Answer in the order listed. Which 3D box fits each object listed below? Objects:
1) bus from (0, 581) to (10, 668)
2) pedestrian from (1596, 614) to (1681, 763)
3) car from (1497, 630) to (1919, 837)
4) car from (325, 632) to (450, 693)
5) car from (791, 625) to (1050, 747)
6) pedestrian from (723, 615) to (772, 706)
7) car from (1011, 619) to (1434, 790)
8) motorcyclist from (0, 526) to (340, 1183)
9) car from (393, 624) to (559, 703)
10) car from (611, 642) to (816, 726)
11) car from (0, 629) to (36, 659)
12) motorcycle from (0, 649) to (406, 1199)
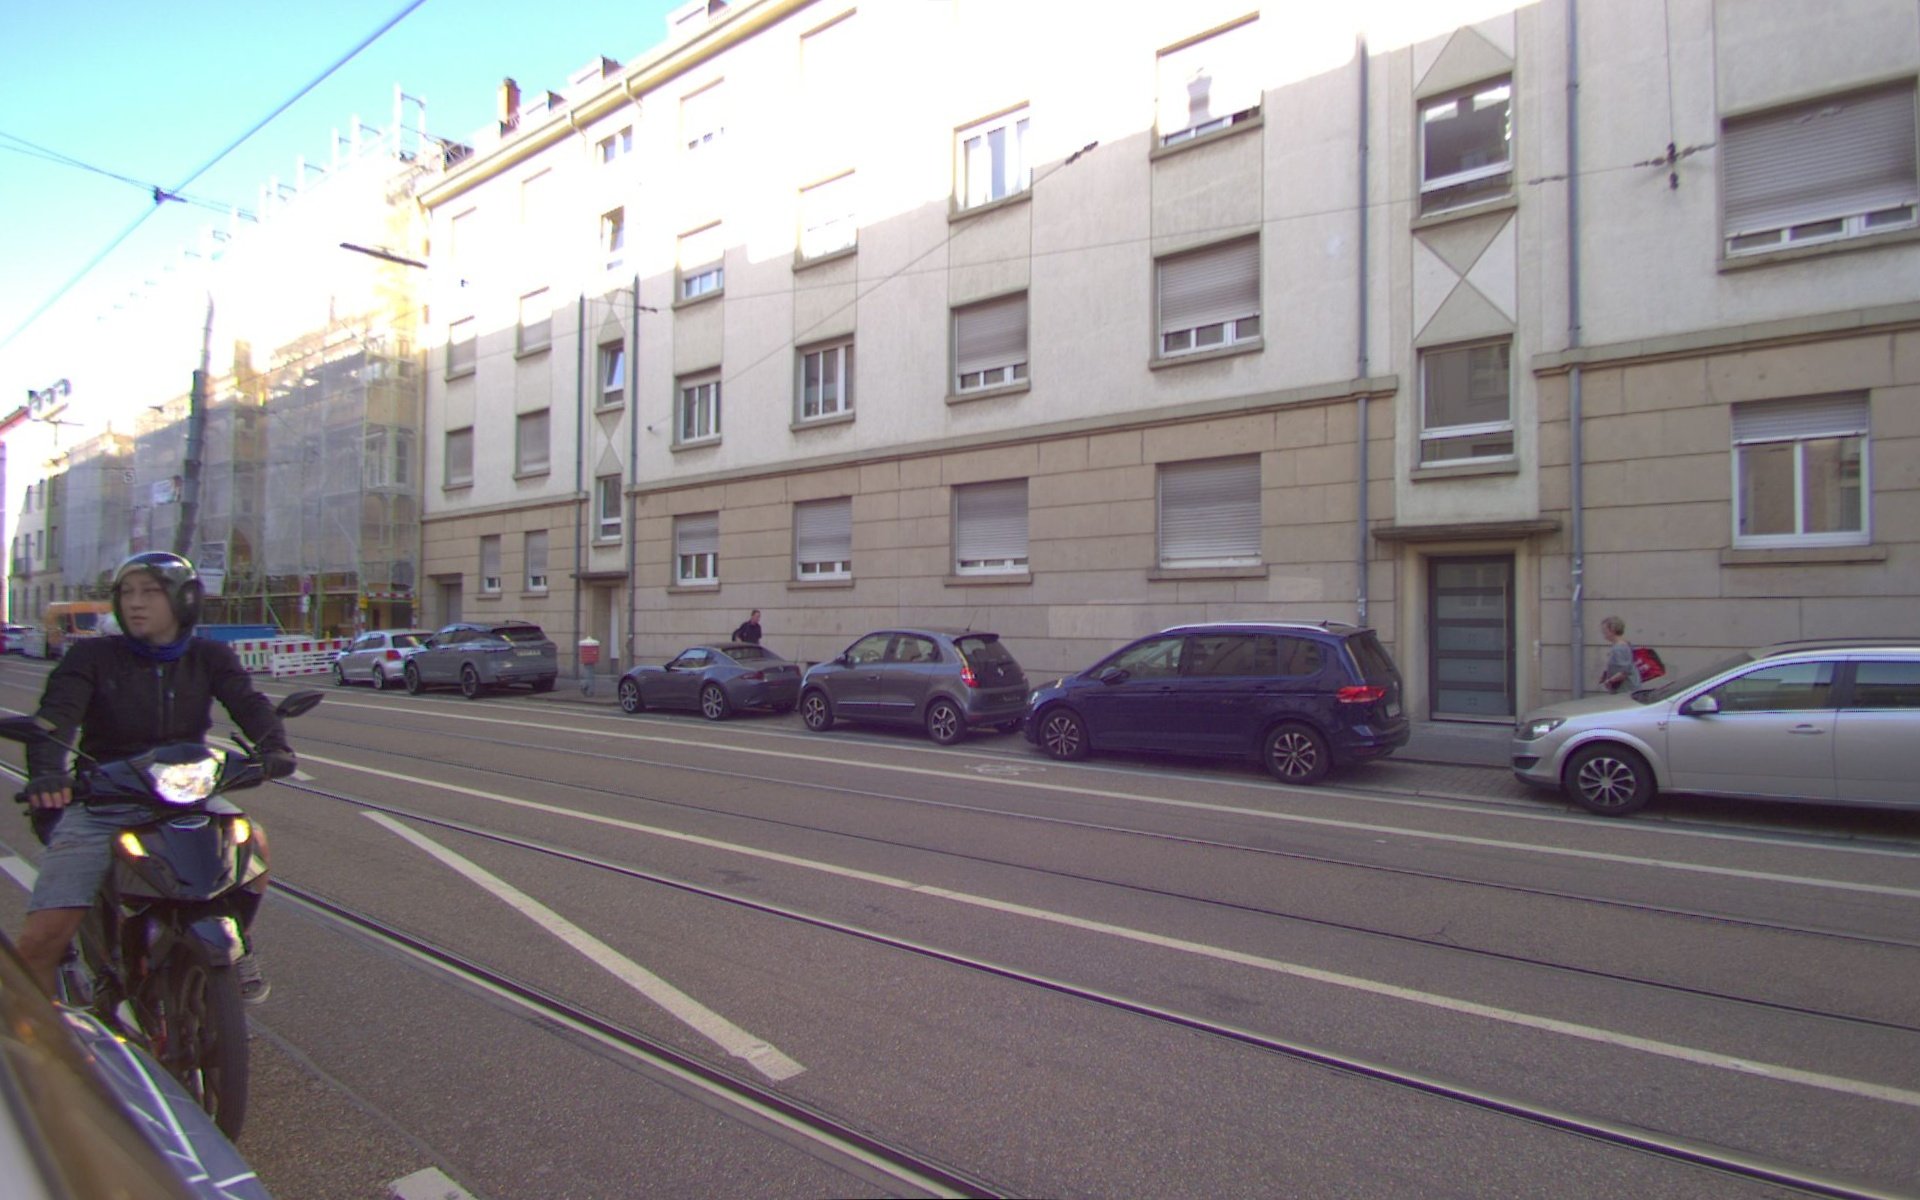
[{"bbox_3d":[-42.903,1.022,41.360,19.130,3.137,2.722,-1,-3,37],"label":"bus"},{"bbox_3d":[7.373,0.935,10.998,0.693,1.553,0.563,-2,-3,39],"label":"pedestrian"},{"bbox_3d":[7.124,1.013,8.497,4.383,1.489,1.779,-1,-2,38],"label":"car"},{"bbox_3d":[-14.387,1.515,25.391,3.506,1.423,1.524,-1,-2,38],"label":"car"},{"bbox_3d":[-0.631,1.146,14.650,3.535,1.539,1.659,-1,-2,38],"label":"car"},{"bbox_3d":[-4.106,1.152,19.540,0.729,1.722,0.597,-2,-3,39],"label":"pedestrian"},{"bbox_3d":[2.890,1.044,11.671,4.383,1.611,1.779,-1,-2,38],"label":"car"},{"bbox_3d":[-2.544,0.663,3.155,0.899,1.668,0.781,-2,-3,41],"label":"motorcyclist"},{"bbox_3d":[-10.886,1.350,22.655,4.201,1.611,1.675,-1,-2,38],"label":"car"},{"bbox_3d":[-4.317,1.380,17.495,3.681,1.244,1.502,-1,-2,38],"label":"car"},{"bbox_3d":[-50.070,2.298,53.333,3.964,1.498,1.662,-2,-1,42],"label":"car"},{"bbox_3d":[-2.641,0.825,3.232,2.272,1.302,0.781,-2,-3,41],"label":"motorcycle"}]
